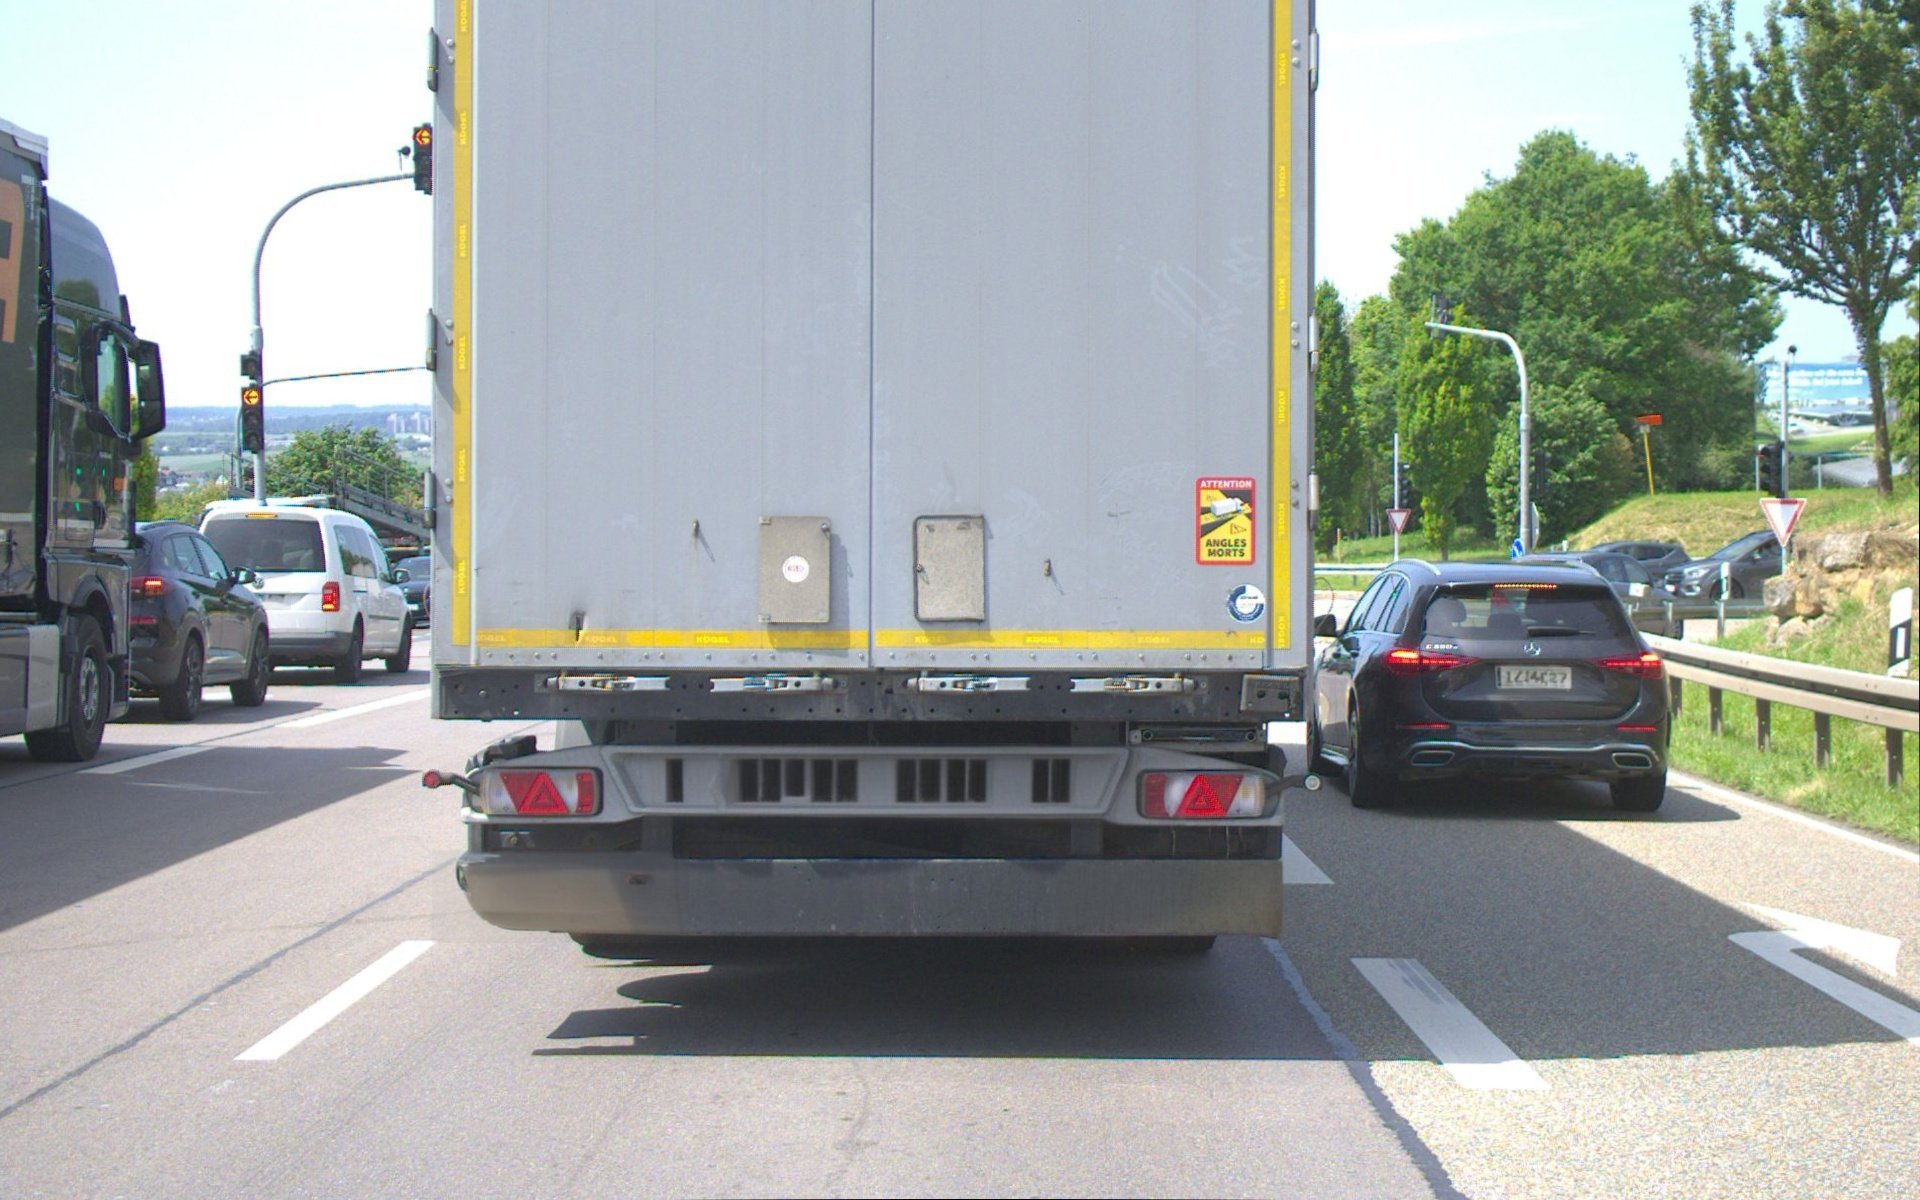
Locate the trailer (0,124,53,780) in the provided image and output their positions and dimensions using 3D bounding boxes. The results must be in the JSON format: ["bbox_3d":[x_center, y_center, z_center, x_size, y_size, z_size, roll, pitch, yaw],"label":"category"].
[{"bbox_3d":[-7.130,-0.801,14.701,2.783,3.900,13.787,1,1,0],"label":"trailer"}]

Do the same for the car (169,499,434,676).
[{"bbox_3d":[-7.120,-0.173,37.643,1.768,1.792,4.752,1,1,3],"label":"car"}]

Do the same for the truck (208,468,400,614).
[{"bbox_3d":[-14.049,-1.248,74.038,2.799,3.003,5.989,0,0,2],"label":"truck"}]

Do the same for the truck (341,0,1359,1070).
[{"bbox_3d":[-0.335,-0.729,15.272,2.799,3.916,11.342,1,1,0],"label":"truck"}]

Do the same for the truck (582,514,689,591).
[{"bbox_3d":[-9.424,-1.374,100.202,1.967,2.150,4.622,-1,0,9],"label":"truck"}]

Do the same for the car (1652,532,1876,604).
[{"bbox_3d":[17.257,-0.694,73.896,4.357,1.505,1.717,0,1,-10],"label":"car"}]

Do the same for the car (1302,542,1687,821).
[{"bbox_3d":[3.181,0.434,21.238,1.746,1.527,4.298,1,0,1],"label":"car"}]

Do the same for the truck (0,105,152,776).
[{"bbox_3d":[-7.126,-0.974,21.275,2.783,3.999,5.971,1,1,0],"label":"truck"}]

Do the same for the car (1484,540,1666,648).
[{"bbox_3d":[9.814,-0.104,54.655,1.799,1.634,3.994,1,1,26],"label":"car"}]

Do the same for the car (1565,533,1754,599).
[{"bbox_3d":[16.345,-0.801,80.393,3.986,1.505,1.716,0,1,-7],"label":"car"}]

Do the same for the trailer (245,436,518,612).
[{"bbox_3d":[-13.672,-1.713,83.638,2.639,3.750,19.798,0,0,2],"label":"trailer"}]

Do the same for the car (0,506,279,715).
[{"bbox_3d":[-7.172,0.041,29.666,1.856,1.652,4.349,1,1,-2],"label":"car"}]

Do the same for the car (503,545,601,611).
[{"bbox_3d":[-9.763,-0.524,82.453,1.737,1.523,4.000,1,0,2],"label":"car"}]
